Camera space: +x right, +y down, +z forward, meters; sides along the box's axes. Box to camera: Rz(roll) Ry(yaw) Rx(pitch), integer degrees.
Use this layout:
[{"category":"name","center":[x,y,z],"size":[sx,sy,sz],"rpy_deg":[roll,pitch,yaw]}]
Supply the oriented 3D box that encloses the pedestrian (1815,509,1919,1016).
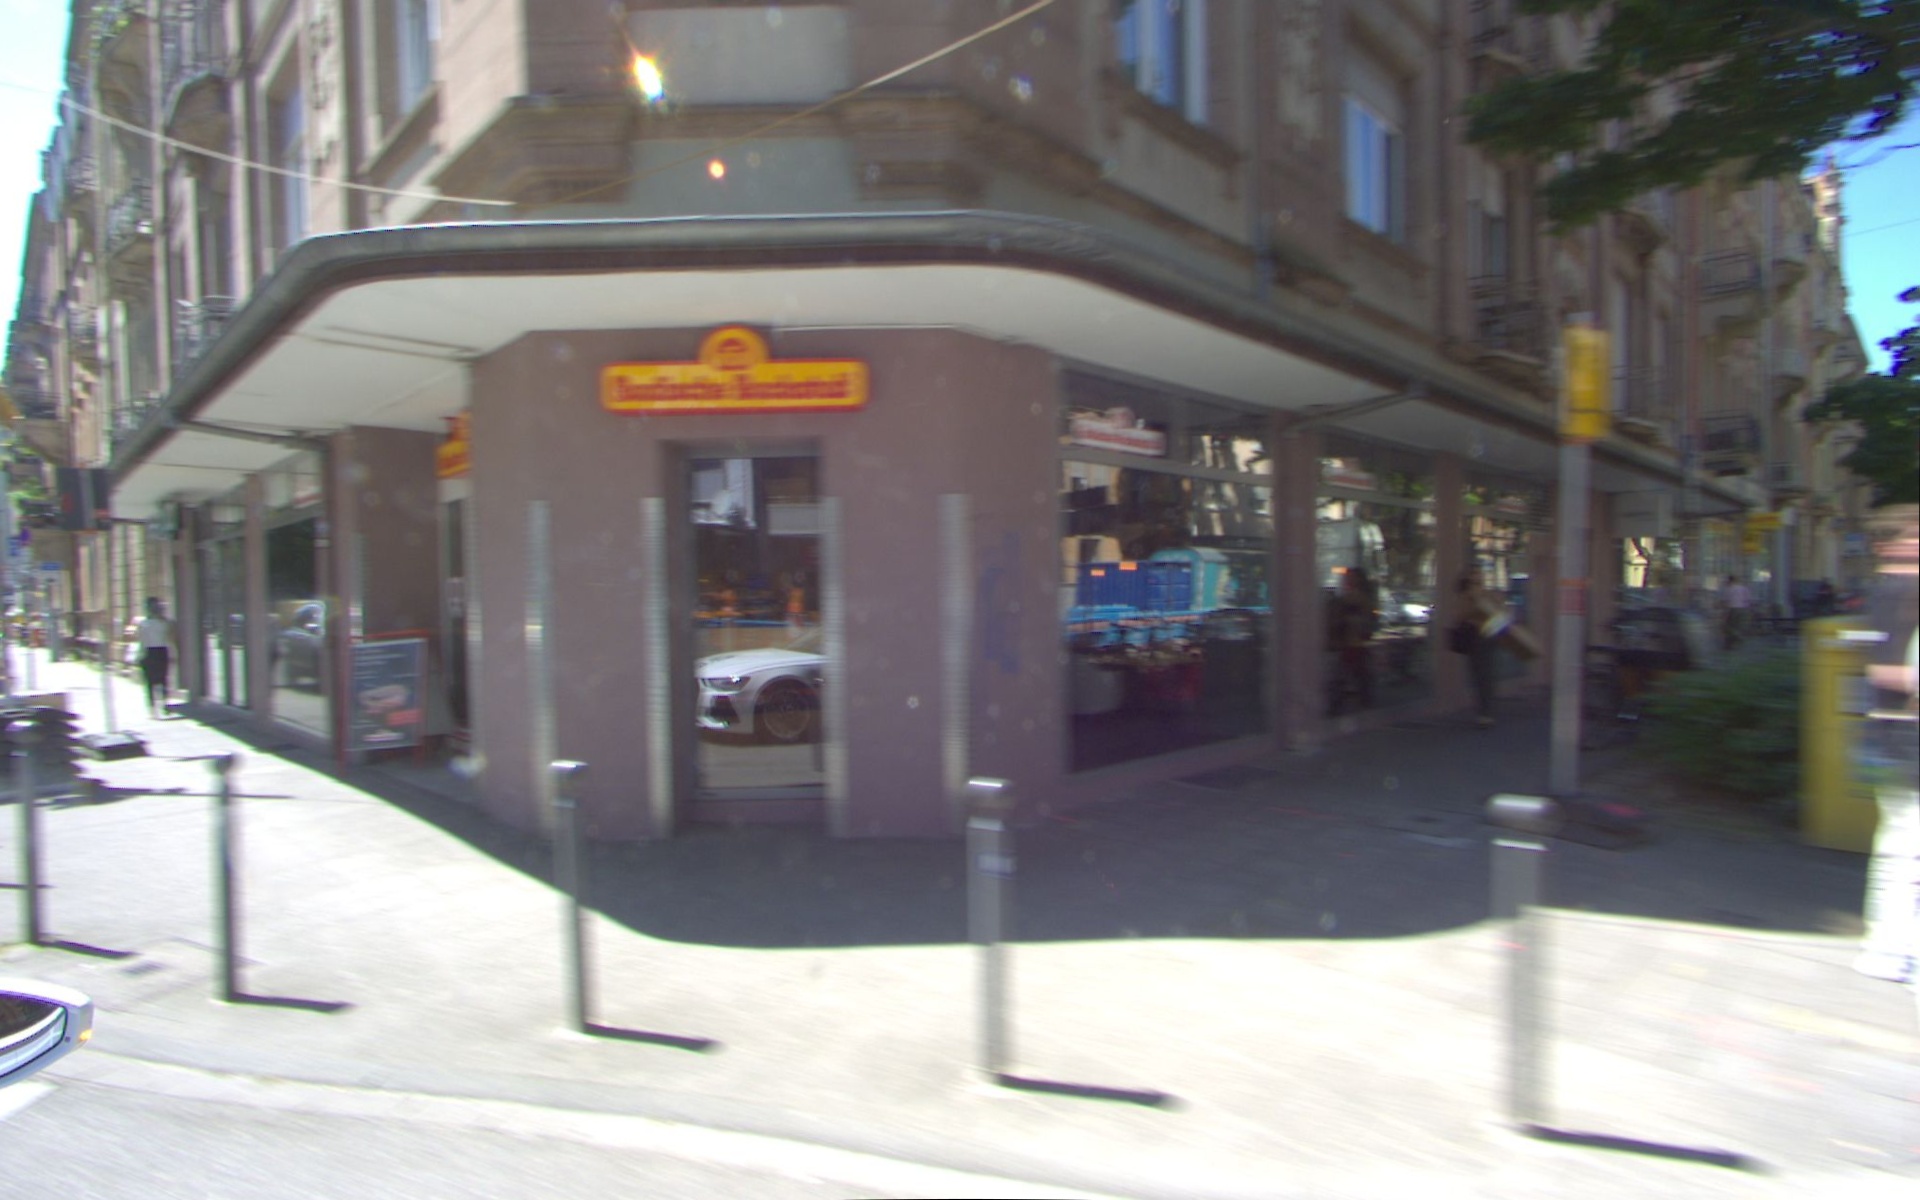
[{"category":"pedestrian","center":[3.580,0.570,3.717],"size":[0.465,1.794,0.573],"rpy_deg":[4,5,36]}]

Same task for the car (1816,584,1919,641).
[{"category":"car","center":[24.985,0.311,26.248],"size":[3.810,1.458,1.777],"rpy_deg":[1,2,43]}]

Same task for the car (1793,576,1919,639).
[{"category":"car","center":[22.694,0.155,24.240],"size":[3.810,1.458,1.777],"rpy_deg":[1,2,43]}]

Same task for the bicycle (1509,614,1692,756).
[{"category":"bicycle","center":[5.845,0.726,9.110],"size":[1.957,1.147,0.514],"rpy_deg":[-1,1,-28]}]

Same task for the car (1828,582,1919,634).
[{"category":"car","center":[27.886,0.223,29.219],"size":[3.810,1.458,1.777],"rpy_deg":[1,2,43]}]

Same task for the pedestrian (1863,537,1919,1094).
[{"category":"pedestrian","center":[3.213,0.641,3.125],"size":[0.417,1.668,0.699],"rpy_deg":[4,4,36]}]

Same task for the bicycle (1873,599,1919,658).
[{"category":"bicycle","center":[17.947,0.525,18.519],"size":[0.534,1.060,1.936],"rpy_deg":[-1,1,7]}]

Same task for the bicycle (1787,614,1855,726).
[{"category":"bicycle","center":[8.981,0.686,10.461],"size":[0.465,1.010,1.751],"rpy_deg":[3,3,40]}]

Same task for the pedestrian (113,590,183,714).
[{"category":"pedestrian","center":[-11.173,0.693,13.775],"size":[0.796,1.645,0.637],"rpy_deg":[0,2,45]}]

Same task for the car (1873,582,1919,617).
[{"category":"car","center":[41.693,-0.039,42.795],"size":[3.887,1.483,1.604],"rpy_deg":[-1,1,42]}]

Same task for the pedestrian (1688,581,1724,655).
[{"category":"pedestrian","center":[16.672,0.398,22.377],"size":[0.487,1.636,0.554],"rpy_deg":[-2,2,-40]}]

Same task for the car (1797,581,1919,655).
[{"category":"car","center":[19.702,0.339,20.546],"size":[3.810,1.458,1.777],"rpy_deg":[1,2,43]}]

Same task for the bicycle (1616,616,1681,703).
[{"category":"bicycle","center":[9.131,0.758,13.256],"size":[0.498,1.010,1.715],"rpy_deg":[3,3,40]}]

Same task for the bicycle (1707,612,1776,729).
[{"category":"bicycle","center":[8.386,0.711,10.724],"size":[0.465,1.095,1.751],"rpy_deg":[3,3,40]}]

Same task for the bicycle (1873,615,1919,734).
[{"category":"bicycle","center":[9.213,0.691,9.686],"size":[0.465,1.020,1.675],"rpy_deg":[3,3,40]}]

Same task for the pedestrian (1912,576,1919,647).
[{"category":"pedestrian","center":[22.136,0.262,22.867],"size":[0.538,1.604,0.474],"rpy_deg":[0,2,43]}]

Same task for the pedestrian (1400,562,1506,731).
[{"category":"pedestrian","center":[5.130,0.453,10.410],"size":[0.779,1.656,0.851],"rpy_deg":[0,2,44]}]
